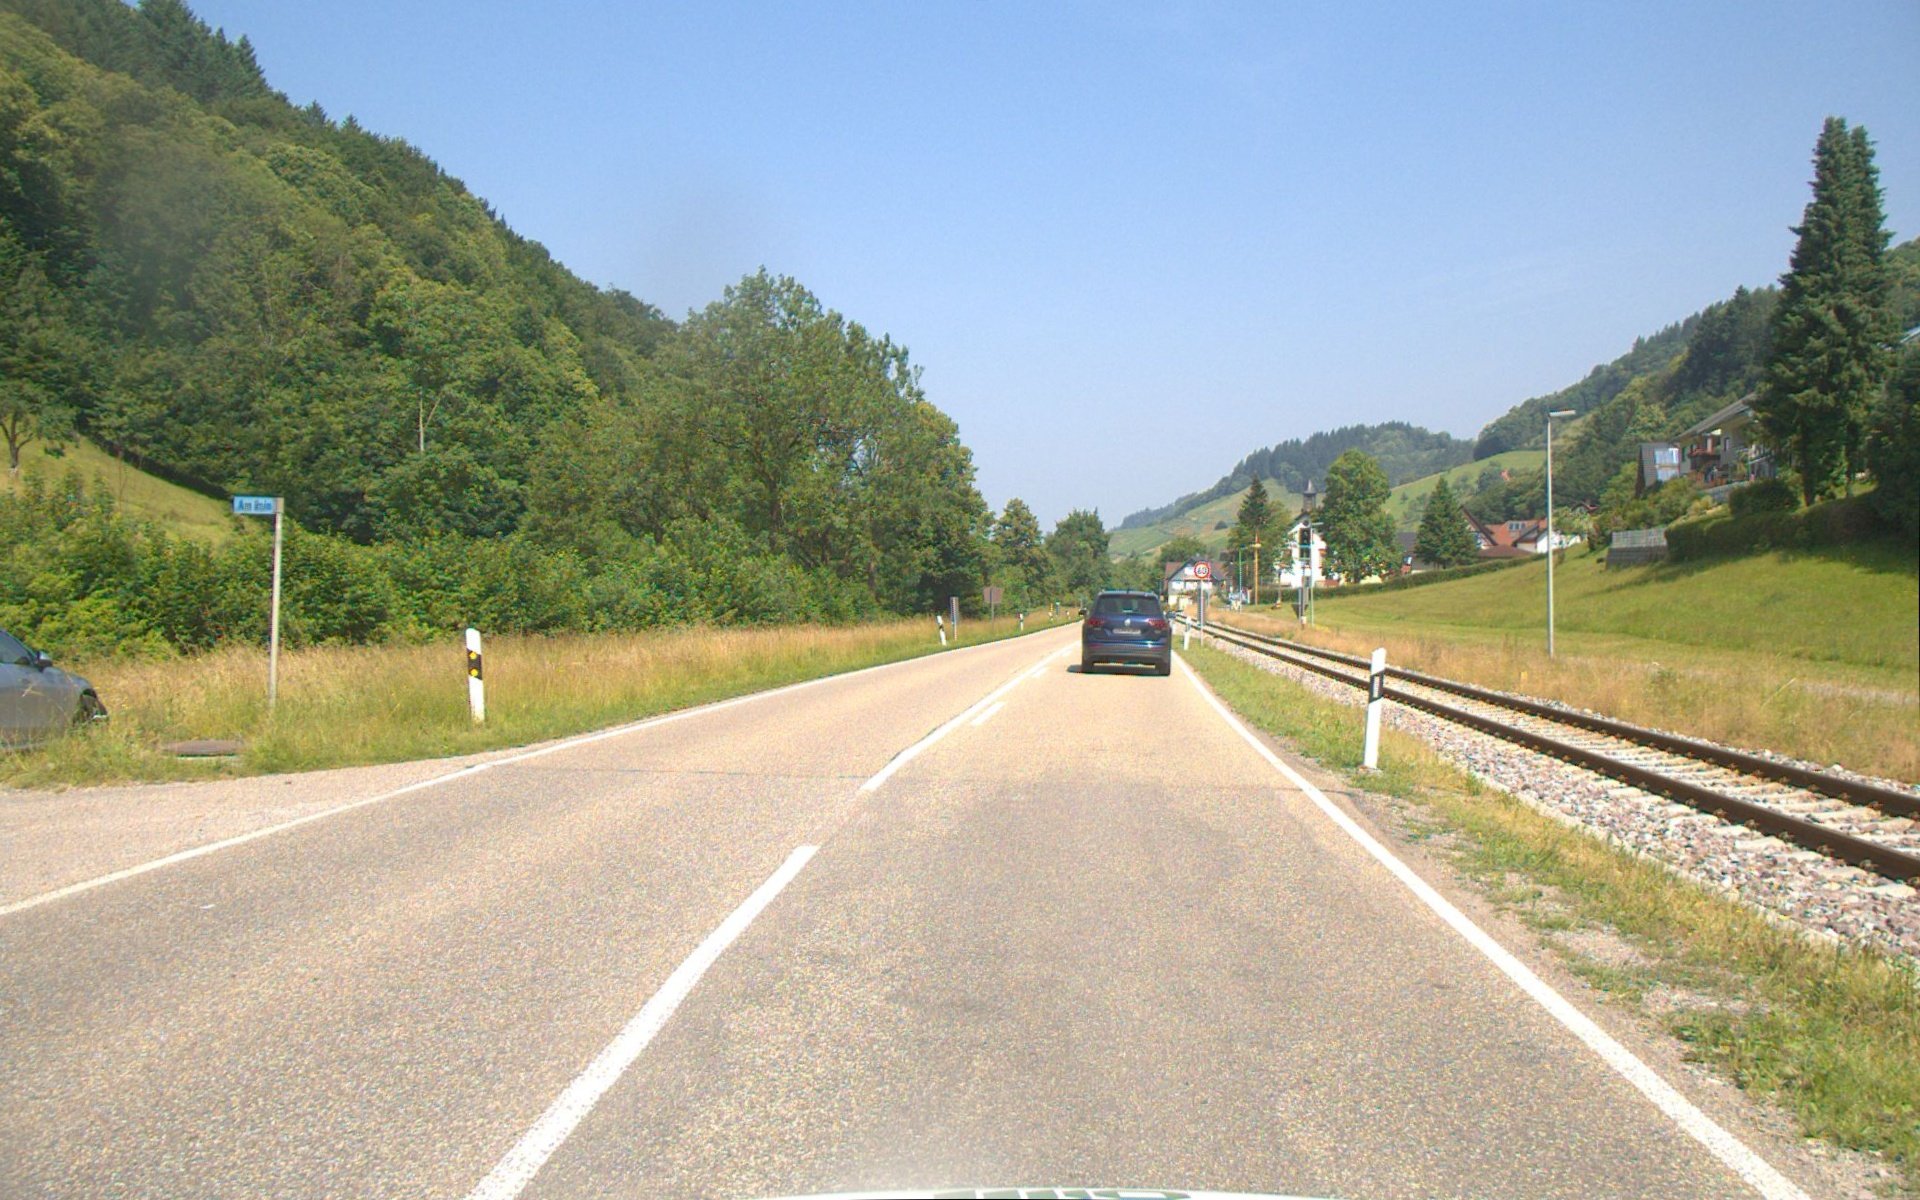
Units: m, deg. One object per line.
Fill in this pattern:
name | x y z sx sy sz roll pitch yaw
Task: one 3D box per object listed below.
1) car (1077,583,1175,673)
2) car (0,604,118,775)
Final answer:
car | 3.344 0.549 33.936 1.814 1.678 4.141 1 0 3
car | -9.526 0.828 15.122 1.791 1.527 4.272 -1 0 -6
